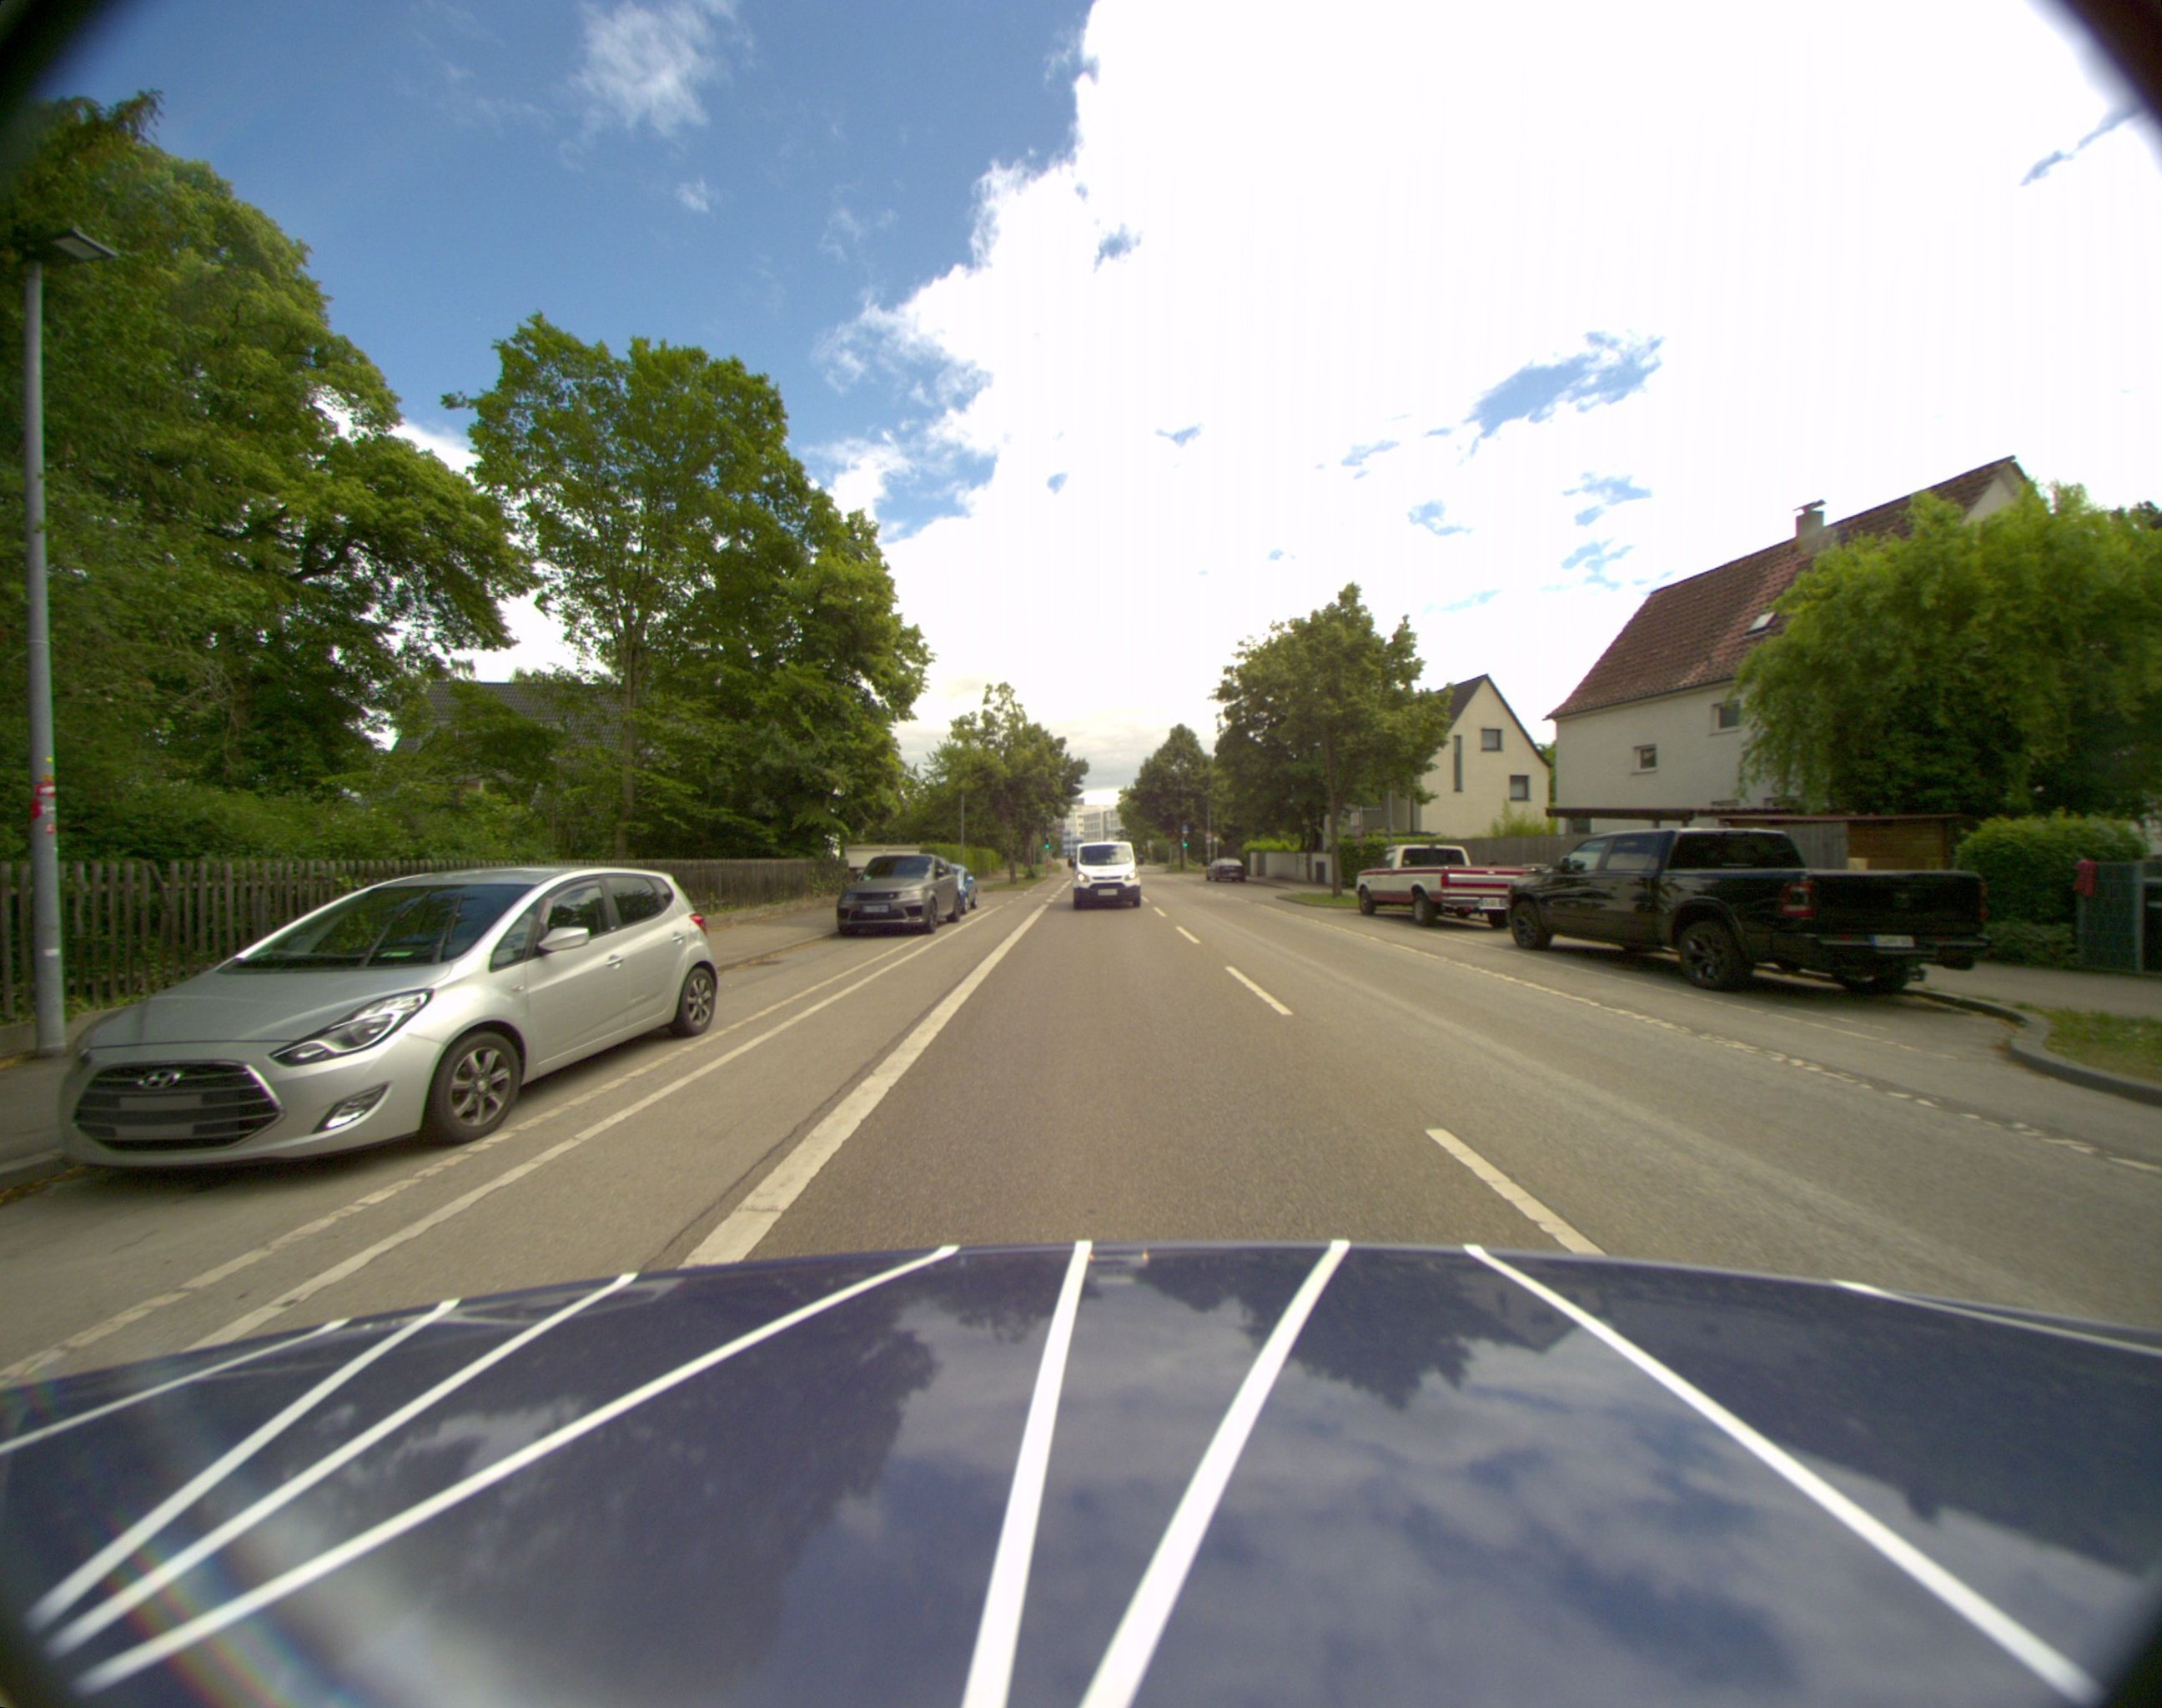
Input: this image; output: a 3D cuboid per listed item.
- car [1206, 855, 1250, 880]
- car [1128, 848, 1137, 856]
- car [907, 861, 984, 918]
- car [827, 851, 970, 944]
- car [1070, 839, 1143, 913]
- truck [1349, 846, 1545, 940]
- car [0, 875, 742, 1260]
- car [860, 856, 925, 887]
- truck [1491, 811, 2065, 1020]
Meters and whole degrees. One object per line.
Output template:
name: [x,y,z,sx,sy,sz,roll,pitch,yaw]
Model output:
car: [8.918,0.804,46.535,1.750,1.400,4.927,1,0,0]
car: [10.277,-0.393,152.050,1.786,1.622,4.000,-1,0,2]
car: [-4.080,1.010,23.407,1.689,1.493,3.920,-1,1,-1]
car: [-4.022,0.867,17.686,1.998,1.805,4.827,-1,1,1]
car: [0.774,0.590,23.995,1.998,2.002,5.188,-2,1,1]
truck: [8.346,0.772,18.084,1.972,1.857,5.664,1,0,1]
car: [-4.433,1.028,5.644,1.867,1.580,4.421,-1,0,-1]
car: [-9.847,0.889,39.872,1.647,1.559,3.225,0,0,25]
truck: [8.451,0.601,10.453,2.429,2.031,5.995,0,0,0]
